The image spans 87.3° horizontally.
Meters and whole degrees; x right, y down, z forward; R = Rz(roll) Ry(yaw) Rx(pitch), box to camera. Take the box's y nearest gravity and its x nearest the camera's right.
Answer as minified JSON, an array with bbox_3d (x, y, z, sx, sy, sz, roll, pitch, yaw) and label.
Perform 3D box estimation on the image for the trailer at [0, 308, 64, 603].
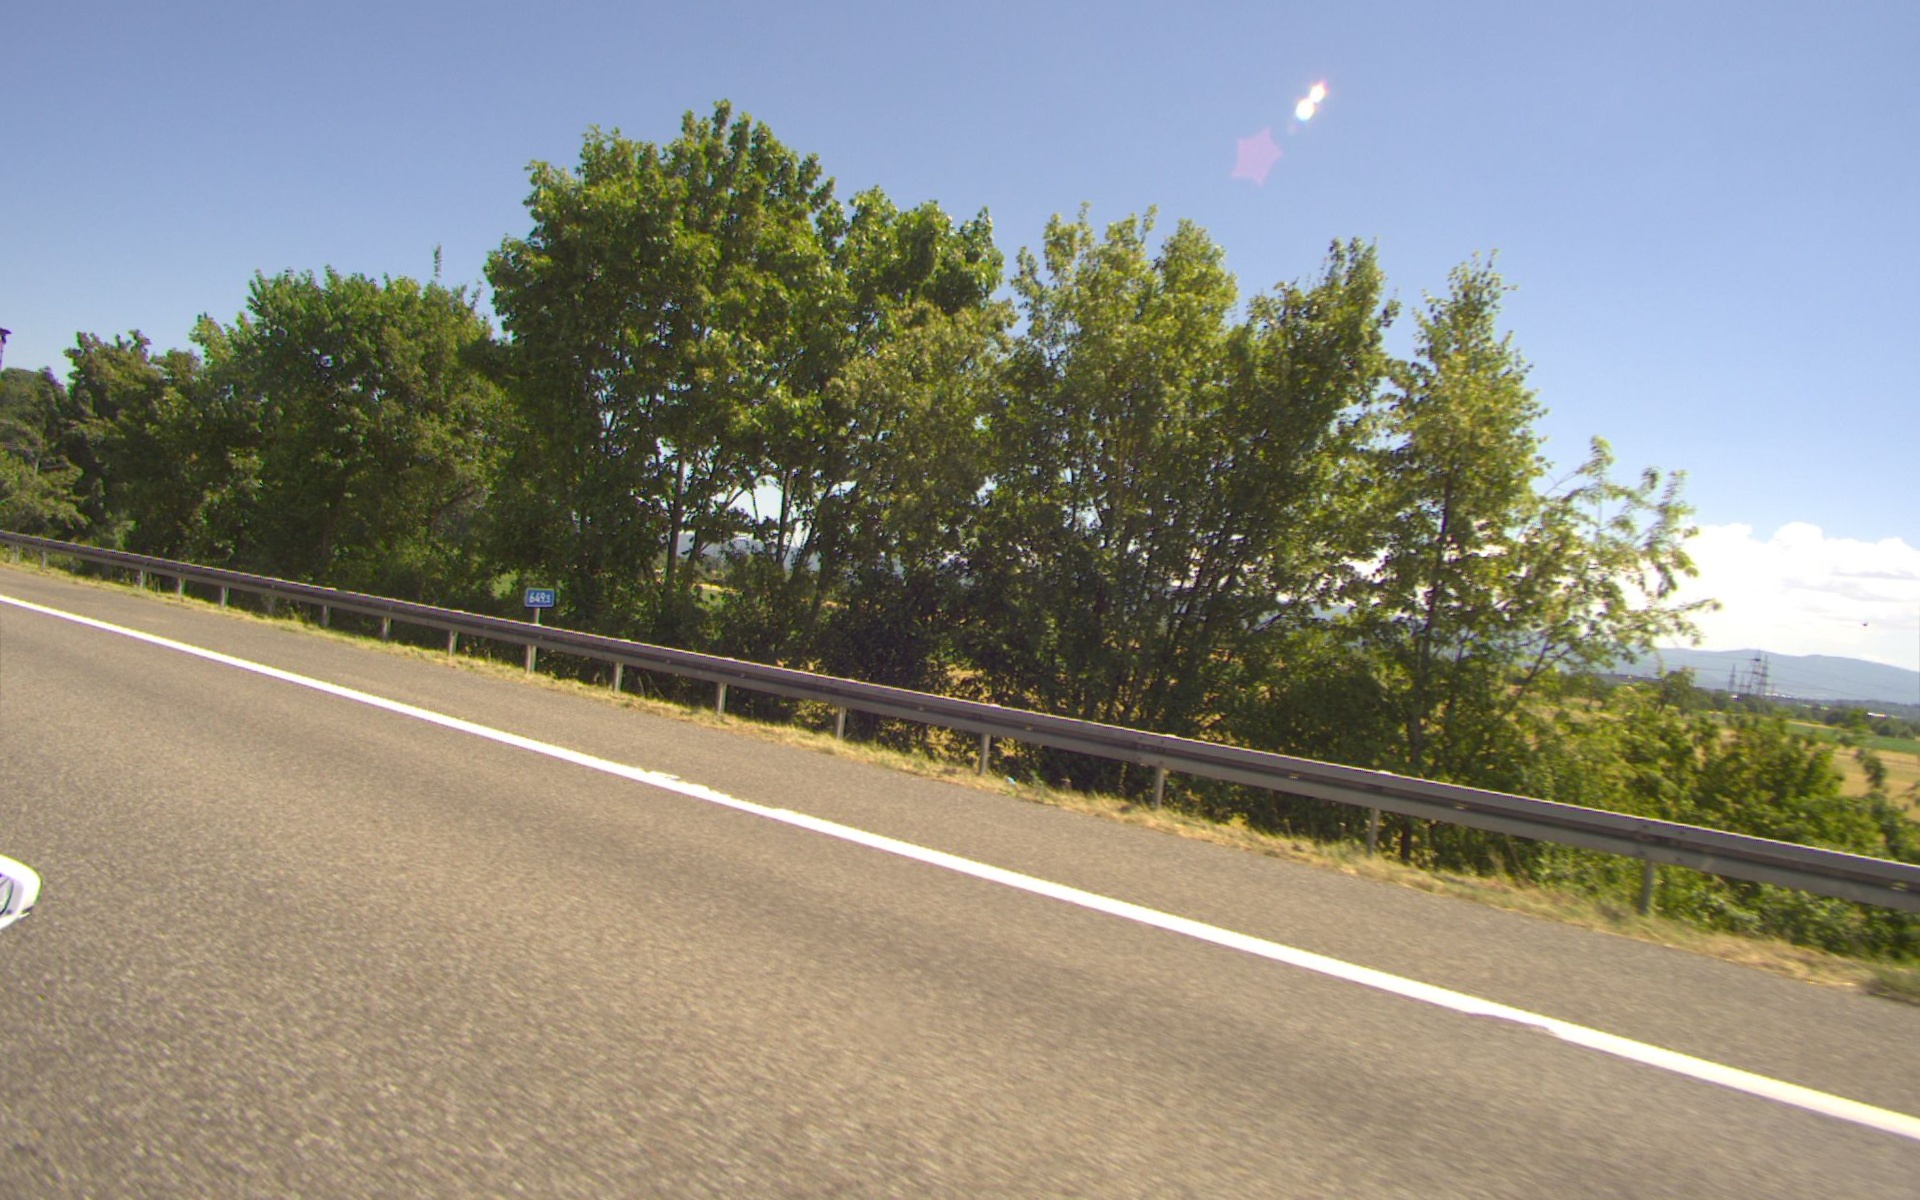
[{"bbox_3d":[-20.342,-2.889,17.286,13.407,4.229,3.441,7,-2,32],"label":"trailer"}]
